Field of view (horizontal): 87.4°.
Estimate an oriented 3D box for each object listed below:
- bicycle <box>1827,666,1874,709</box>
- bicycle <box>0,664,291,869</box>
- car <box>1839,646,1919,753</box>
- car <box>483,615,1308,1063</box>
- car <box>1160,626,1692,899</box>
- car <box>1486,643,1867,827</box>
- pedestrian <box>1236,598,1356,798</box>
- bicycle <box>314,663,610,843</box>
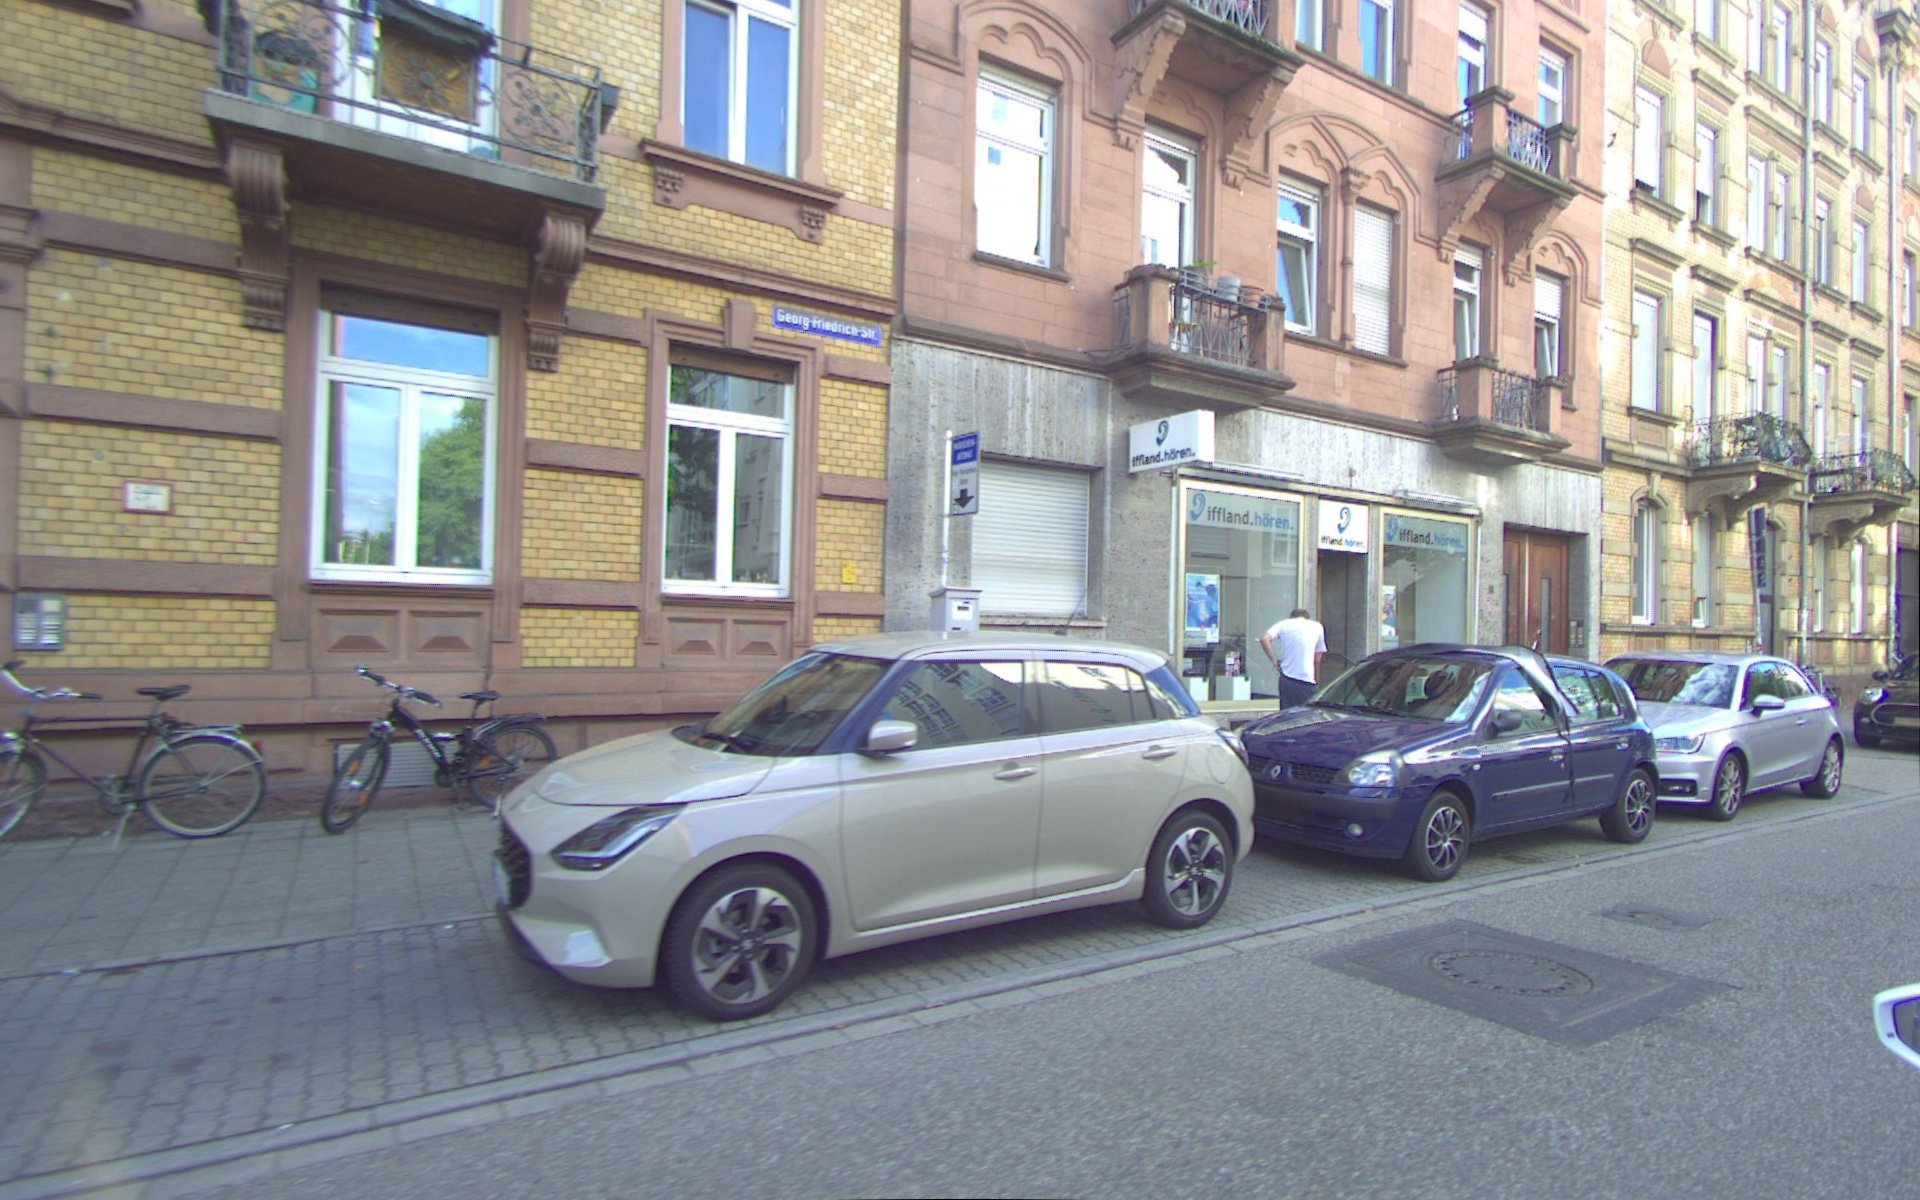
[{"bbox_3d":[20.077,1.962,22.648,1.282,0.909,0.433,2,1,-33],"label":"bicycle"},{"bbox_3d":[-5.145,0.951,6.077,1.751,1.051,0.850,2,1,-31],"label":"bicycle"},{"bbox_3d":[14.679,1.418,14.715,3.824,1.405,1.681,2,0,-32],"label":"car"},{"bbox_3d":[-0.211,0.877,5.232,3.939,1.503,1.732,2,0,-32],"label":"car"},{"bbox_3d":[3.561,0.989,7.498,3.939,1.503,1.732,2,0,-32],"label":"car"},{"bbox_3d":[7.039,1.161,9.789,3.824,1.405,1.681,2,0,-32],"label":"car"},{"bbox_3d":[3.270,0.915,9.795,0.765,1.814,0.725,1,2,-38],"label":"pedestrian"},{"bbox_3d":[-3.482,1.007,7.095,1.751,1.051,0.893,2,0,-31],"label":"bicycle"}]
